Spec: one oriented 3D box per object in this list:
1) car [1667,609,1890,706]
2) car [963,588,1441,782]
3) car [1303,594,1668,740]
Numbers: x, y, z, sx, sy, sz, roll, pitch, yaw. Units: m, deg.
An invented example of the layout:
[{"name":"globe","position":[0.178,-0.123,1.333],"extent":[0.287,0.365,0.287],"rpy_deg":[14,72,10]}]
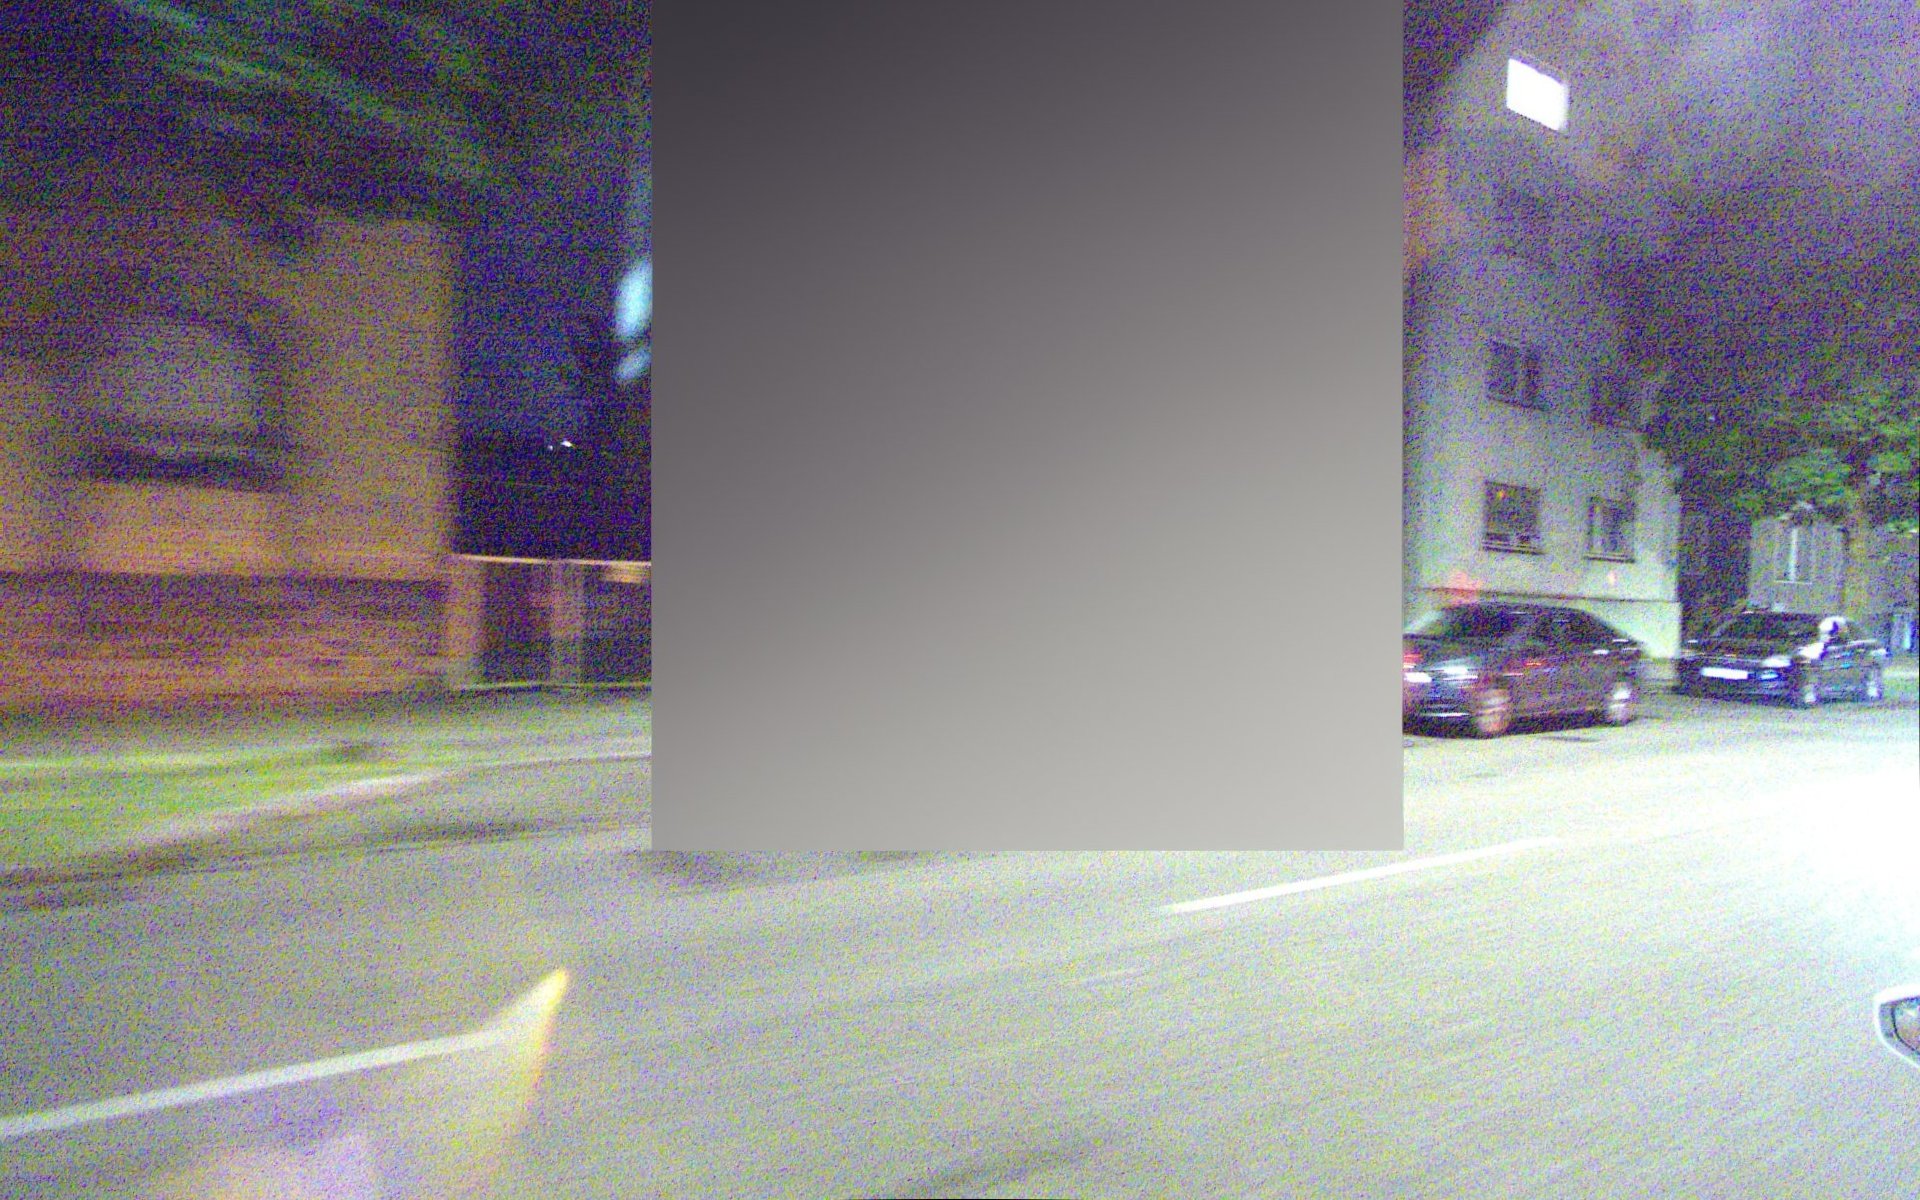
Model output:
[{"name":"car","position":[13.648,0.893,16.673],"extent":[4.404,1.401,1.613],"rpy_deg":[1,0,-33]},{"name":"car","position":[2.484,0.695,9.811],"extent":[4.715,1.505,1.758],"rpy_deg":[1,0,-32]},{"name":"car","position":[6.587,0.738,12.419],"extent":[4.808,1.505,1.759],"rpy_deg":[1,0,-31]}]
